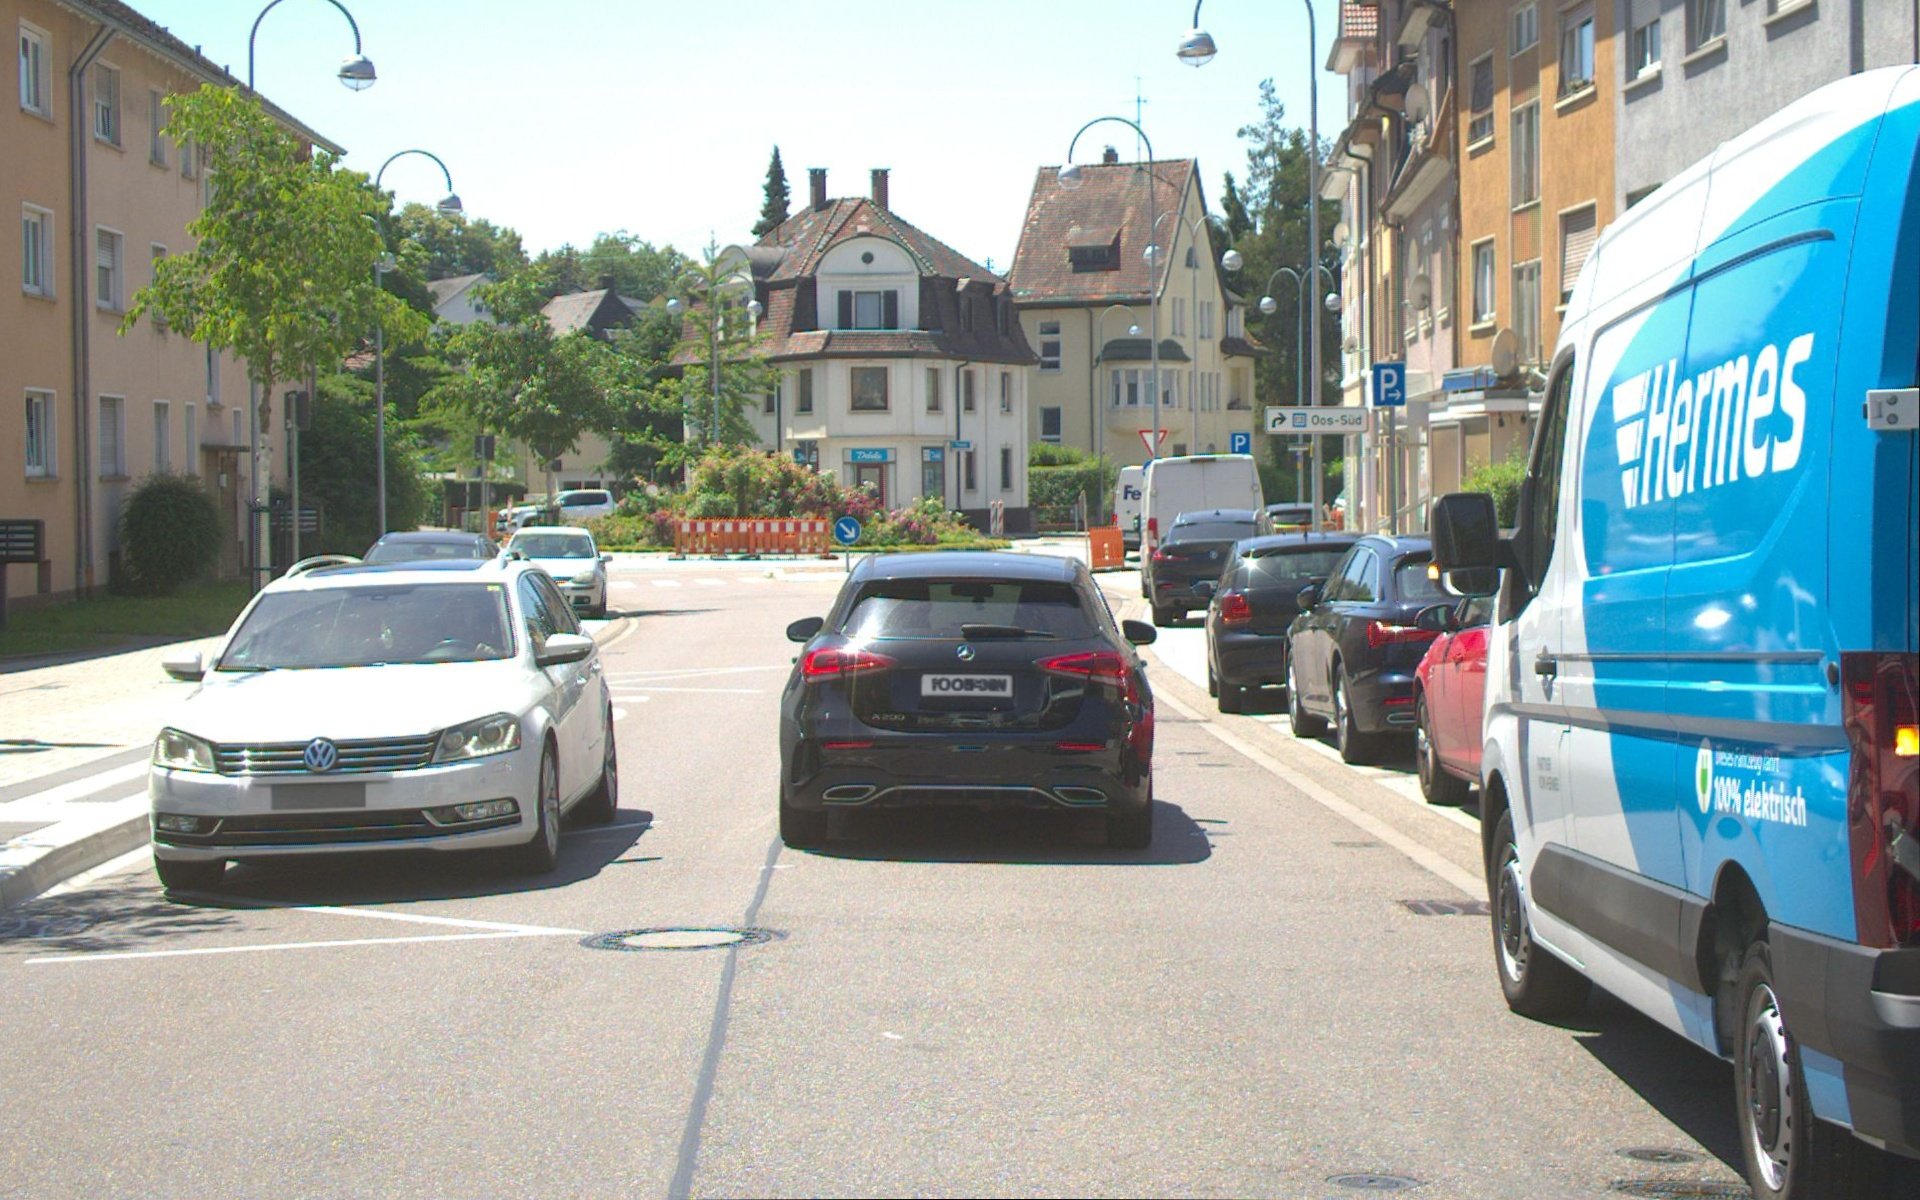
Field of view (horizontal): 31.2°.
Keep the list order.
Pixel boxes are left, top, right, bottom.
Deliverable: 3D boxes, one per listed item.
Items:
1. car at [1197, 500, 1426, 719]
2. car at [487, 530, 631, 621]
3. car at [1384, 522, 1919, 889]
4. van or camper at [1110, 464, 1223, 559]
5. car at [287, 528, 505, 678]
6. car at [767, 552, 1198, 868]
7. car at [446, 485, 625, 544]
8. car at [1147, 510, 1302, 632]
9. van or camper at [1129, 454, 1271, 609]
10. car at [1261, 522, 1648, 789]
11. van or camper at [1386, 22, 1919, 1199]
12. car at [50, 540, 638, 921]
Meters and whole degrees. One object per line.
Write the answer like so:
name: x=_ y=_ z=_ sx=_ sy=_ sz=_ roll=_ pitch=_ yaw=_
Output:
car: x=2.981 y=0.023 z=29.788 sx=1.728 sy=1.627 sz=4.000 roll=-3 pitch=2 yaw=4
car: x=-6.532 y=-0.423 z=56.384 sx=1.993 sy=1.415 sz=4.089 roll=-1 pitch=1 yaw=-2
car: x=3.355 y=0.422 z=17.367 sx=1.803 sy=1.524 sz=4.151 roll=-2 pitch=2 yaw=-1
van or camper: x=5.770 y=-2.494 z=95.731 sx=2.207 sy=2.601 sz=3.997 roll=1 pitch=2 yaw=18
car: x=-6.375 y=-0.015 z=39.325 sx=1.857 sy=1.501 sz=4.563 roll=-1 pitch=2 yaw=-2
car: x=0.104 y=0.476 z=17.683 sx=1.953 sy=1.422 sz=4.000 roll=0 pitch=1 yaw=0
car: x=-13.763 y=-2.757 z=111.536 sx=5.402 sy=1.809 sz=2.000 roll=0 pitch=2 yaw=-29
car: x=3.885 y=-0.458 z=49.868 sx=1.896 sy=1.602 sz=4.363 roll=-2 pitch=2 yaw=8
van or camper: x=4.234 y=-1.260 z=61.404 sx=2.165 sy=2.580 sz=5.766 roll=-2 pitch=2 yaw=1
car: x=3.253 y=0.289 z=23.536 sx=1.803 sy=1.470 sz=4.721 roll=-4 pitch=2 yaw=-1
van or camper: x=2.613 y=0.090 z=9.270 sx=2.108 sy=2.459 sz=6.177 roll=-2 pitch=1 yaw=1
car: x=-2.830 y=0.523 z=16.817 sx=1.993 sy=1.501 sz=4.288 roll=-1 pitch=2 yaw=1
